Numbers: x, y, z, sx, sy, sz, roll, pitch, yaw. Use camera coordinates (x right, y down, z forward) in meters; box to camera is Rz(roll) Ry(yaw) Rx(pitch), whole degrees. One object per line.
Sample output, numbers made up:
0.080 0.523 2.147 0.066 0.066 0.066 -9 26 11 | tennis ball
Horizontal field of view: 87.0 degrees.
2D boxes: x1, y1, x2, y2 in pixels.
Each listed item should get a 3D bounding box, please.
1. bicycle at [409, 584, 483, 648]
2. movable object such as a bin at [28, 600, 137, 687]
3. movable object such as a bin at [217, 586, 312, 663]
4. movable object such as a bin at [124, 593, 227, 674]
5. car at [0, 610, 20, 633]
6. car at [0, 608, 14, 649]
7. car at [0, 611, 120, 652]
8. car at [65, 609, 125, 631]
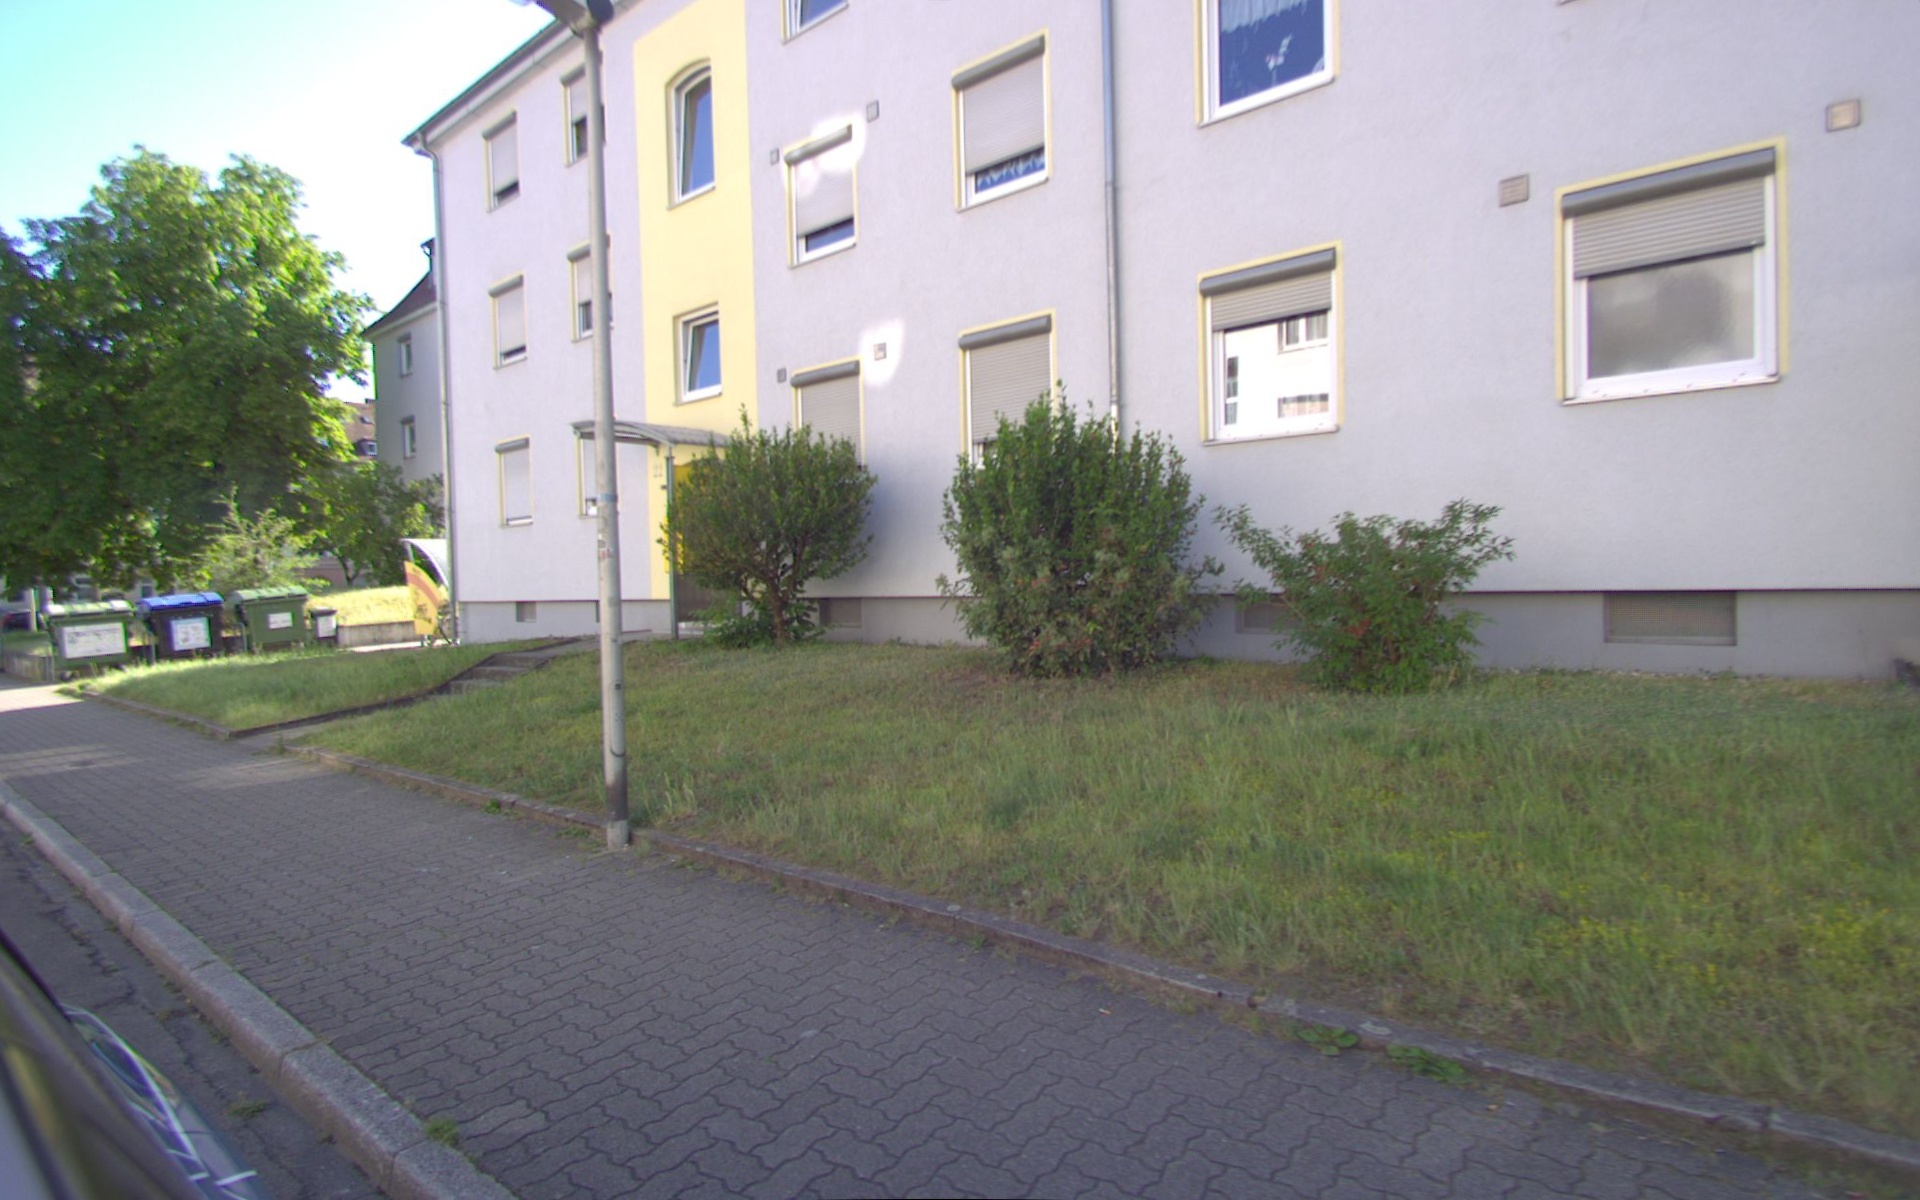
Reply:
-10.900 0.334 21.419 2.008 1.260 0.633 -1 2 41 | bicycle
-16.965 0.814 19.575 1.197 1.470 1.302 -1 5 41 | movable object such as a bin
-15.077 0.510 21.954 1.072 1.463 1.347 -1 5 41 | movable object such as a bin
-16.070 0.664 20.742 1.082 1.470 1.342 -1 5 41 | movable object such as a bin
-63.504 1.459 65.561 1.624 1.456 3.738 -1 0 42 | car
-40.951 1.204 42.472 3.306 1.667 1.655 -1 0 45 | car
-37.437 1.287 41.733 1.728 1.508 4.088 -1 0 40 | car
-63.604 1.457 74.421 1.544 1.519 3.152 -1 0 40 | car
